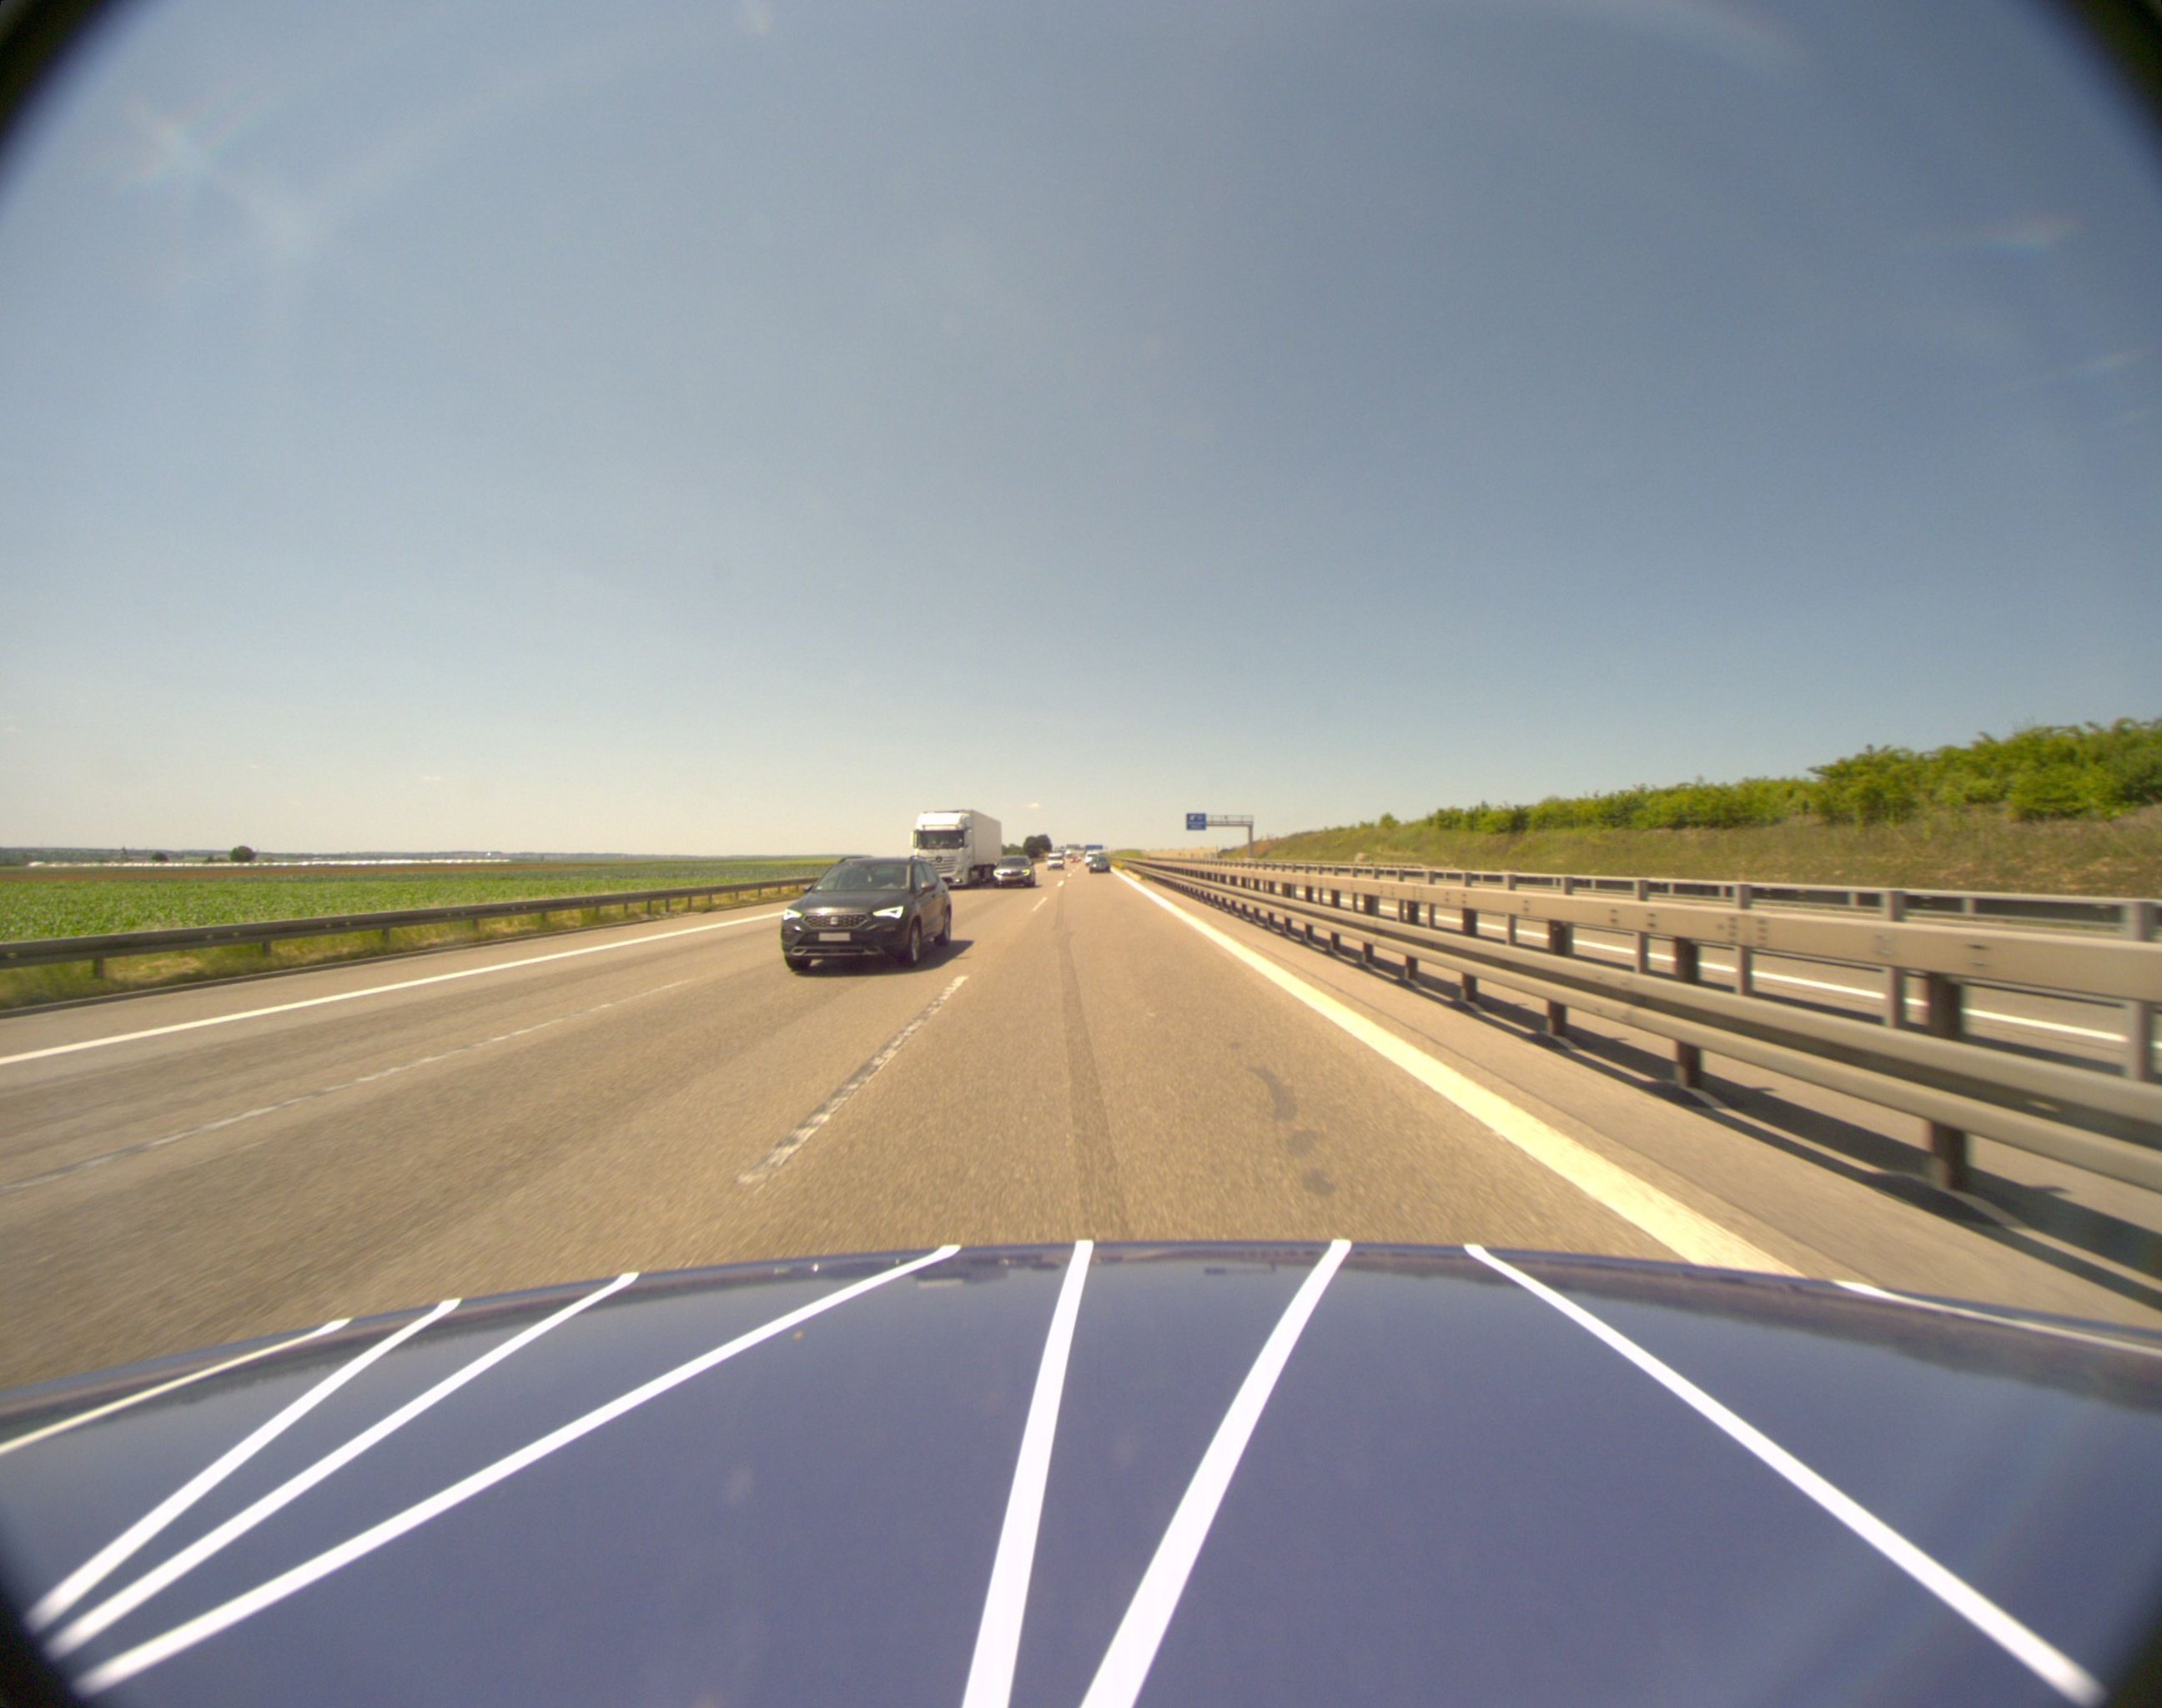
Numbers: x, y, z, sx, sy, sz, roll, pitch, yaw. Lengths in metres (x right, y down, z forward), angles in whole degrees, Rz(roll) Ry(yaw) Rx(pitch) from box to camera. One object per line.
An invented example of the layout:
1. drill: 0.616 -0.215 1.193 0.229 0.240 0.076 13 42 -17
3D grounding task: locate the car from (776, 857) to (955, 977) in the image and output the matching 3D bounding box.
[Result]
1. car: -3.296 0.883 12.423 1.801 1.553 3.823 -2 1 -1

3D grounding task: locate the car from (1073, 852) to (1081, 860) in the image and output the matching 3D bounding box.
1. car: -0.848 0.385 165.669 1.723 1.514 3.582 -2 1 2

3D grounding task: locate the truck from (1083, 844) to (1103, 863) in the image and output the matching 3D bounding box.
1. truck: 1.549 -0.127 101.182 2.334 2.378 6.685 -2 1 -2

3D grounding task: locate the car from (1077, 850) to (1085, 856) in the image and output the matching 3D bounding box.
1. car: -0.027 -0.194 196.402 1.724 1.514 3.581 -2 1 -2

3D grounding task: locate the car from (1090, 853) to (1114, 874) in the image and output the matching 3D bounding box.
1. car: 1.678 0.766 61.822 1.715 1.586 4.546 1 0 -2

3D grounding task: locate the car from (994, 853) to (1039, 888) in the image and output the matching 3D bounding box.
1. car: -3.224 0.814 38.890 1.856 1.638 4.645 -2 0 0

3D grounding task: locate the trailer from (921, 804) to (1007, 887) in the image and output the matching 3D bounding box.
1. trailer: -6.690 -0.481 45.975 2.875 4.195 13.293 -2 1 0

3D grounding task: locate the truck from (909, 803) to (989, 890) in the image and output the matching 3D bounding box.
1. truck: -6.745 -0.365 39.857 2.870 4.068 6.878 -2 1 0

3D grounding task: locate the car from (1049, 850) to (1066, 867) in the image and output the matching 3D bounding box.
1. car: -2.672 0.467 85.225 1.812 1.836 5.311 -1 0 -2
